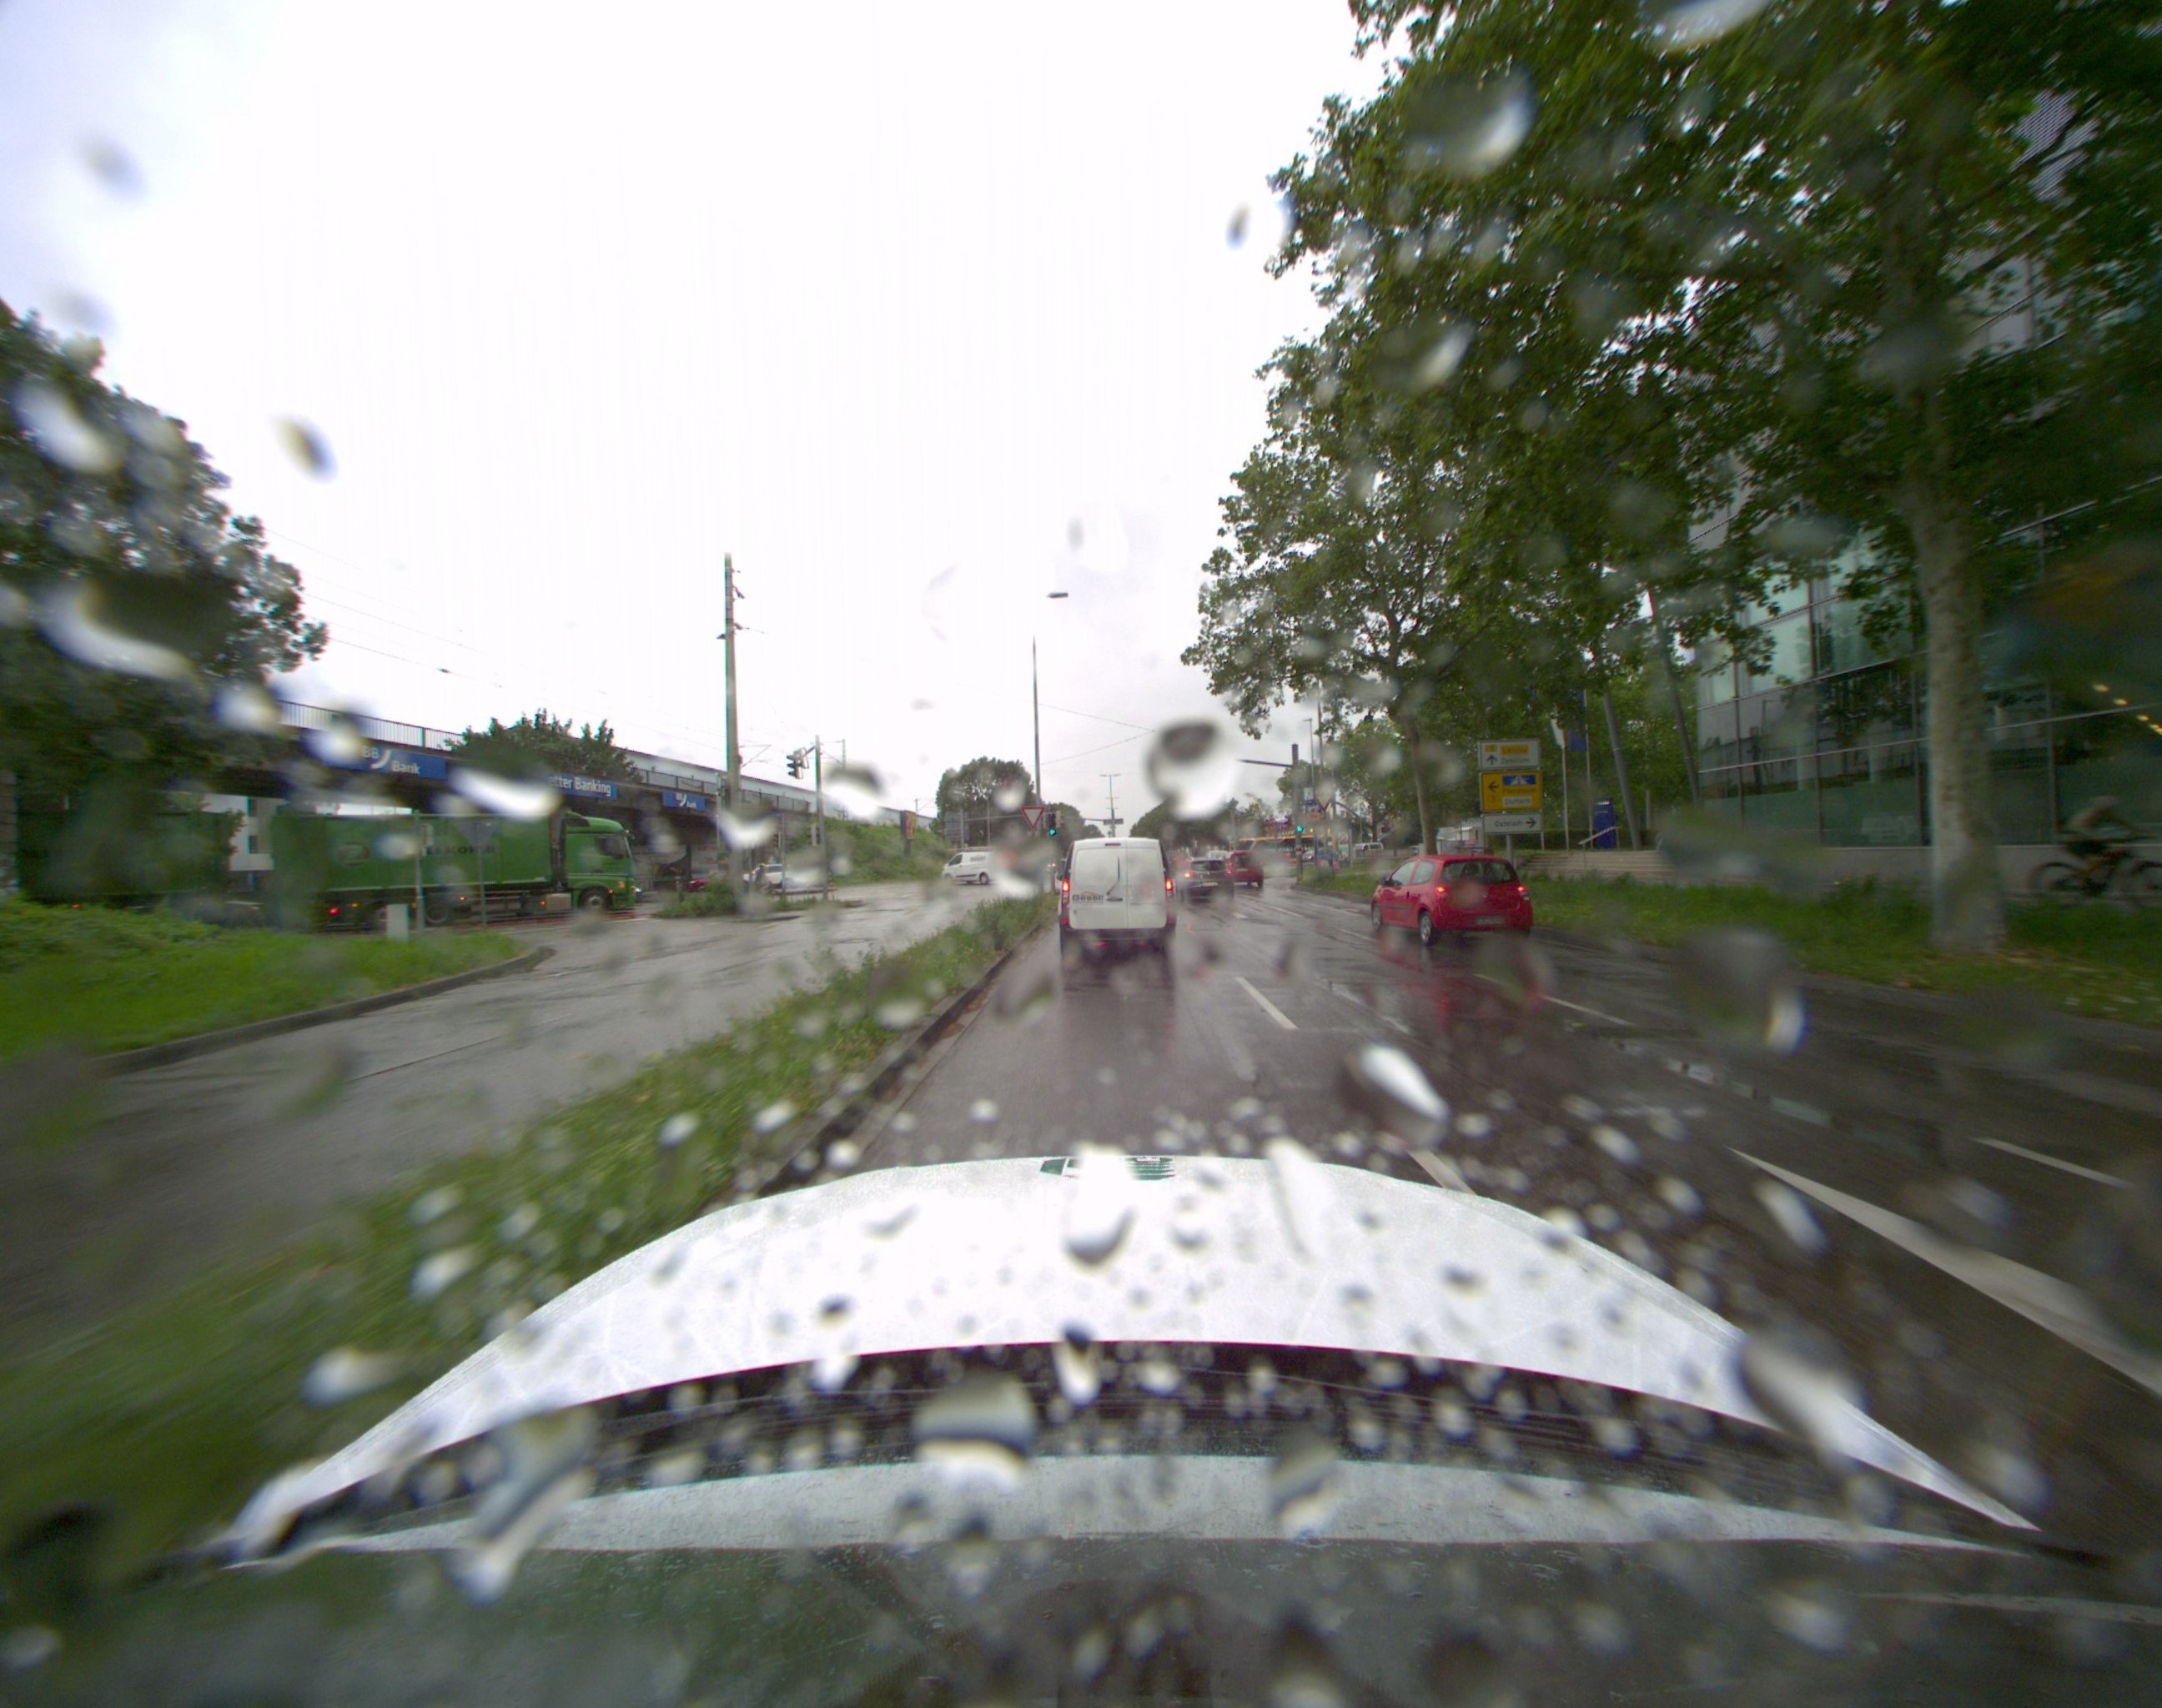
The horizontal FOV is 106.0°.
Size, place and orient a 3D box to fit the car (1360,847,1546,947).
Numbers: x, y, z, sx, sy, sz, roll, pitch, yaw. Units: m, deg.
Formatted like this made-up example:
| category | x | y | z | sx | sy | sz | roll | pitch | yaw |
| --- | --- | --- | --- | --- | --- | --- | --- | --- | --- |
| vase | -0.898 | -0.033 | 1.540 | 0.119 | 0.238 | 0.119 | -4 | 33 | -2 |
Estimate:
| category | x | y | z | sx | sy | sz | roll | pitch | yaw |
| --- | --- | --- | --- | --- | --- | --- | --- | --- | --- |
| car | 6.306 | 0.654 | 14.251 | 1.672 | 1.491 | 3.623 | -1 | 0 | 2 |

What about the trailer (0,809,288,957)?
| category | x | y | z | sx | sy | sz | roll | pitch | yaw |
| --- | --- | --- | --- | --- | --- | --- | --- | --- | --- |
| trailer | -29.200 | 0.789 | 23.555 | 8.555 | 3.987 | 2.660 | -2 | -1 | -35 |

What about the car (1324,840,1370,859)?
| category | x | y | z | sx | sy | sz | roll | pitch | yaw |
| --- | --- | --- | --- | --- | --- | --- | --- | --- | --- |
| car | 27.632 | -0.480 | 84.517 | 4.766 | 1.849 | 2.055 | -2 | 0 | -35 |

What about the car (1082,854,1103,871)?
| category | x | y | z | sx | sy | sz | roll | pitch | yaw |
| --- | --- | --- | --- | --- | --- | --- | --- | --- | --- |
| car | 1.329 | 0.928 | 92.579 | 2.160 | 1.720 | 4.307 | -2 | 0 | 4 |

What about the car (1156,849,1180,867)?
| category | x | y | z | sx | sy | sz | roll | pitch | yaw |
| --- | --- | --- | --- | --- | --- | --- | --- | --- | --- |
| car | 7.854 | 0.355 | 74.089 | 1.984 | 1.574 | 4.005 | -2 | 0 | 4 |

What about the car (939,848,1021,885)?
| category | x | y | z | sx | sy | sz | roll | pitch | yaw |
| --- | --- | --- | --- | --- | --- | --- | --- | --- | --- |
| car | -6.077 | 0.759 | 48.732 | 4.758 | 1.955 | 2.013 | -2 | 1 | 37 |

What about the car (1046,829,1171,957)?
| category | x | y | z | sx | sy | sz | roll | pitch | yaw |
| --- | --- | --- | --- | --- | --- | --- | --- | --- | --- |
| car | 0.460 | 0.552 | 13.519 | 1.749 | 1.777 | 4.002 | -1 | 0 | 2 |

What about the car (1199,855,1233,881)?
| category | x | y | z | sx | sy | sz | roll | pitch | yaw |
| --- | --- | --- | --- | --- | --- | --- | --- | --- | --- |
| car | 8.893 | 0.879 | 53.879 | 1.835 | 1.618 | 4.003 | -1 | 0 | 3 |

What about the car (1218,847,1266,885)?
| category | x | y | z | sx | sy | sz | roll | pitch | yaw |
| --- | --- | --- | --- | --- | --- | --- | --- | --- | --- |
| car | 7.344 | 0.536 | 37.415 | 1.626 | 1.655 | 3.486 | 0 | 0 | 2 |

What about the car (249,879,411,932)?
| category | x | y | z | sx | sy | sz | roll | pitch | yaw |
| --- | --- | --- | --- | --- | --- | --- | --- | --- | --- |
| car | -26.800 | 1.795 | 29.281 | 4.017 | 1.574 | 1.978 | -3 | 0 | -35 |

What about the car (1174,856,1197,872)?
| category | x | y | z | sx | sy | sz | roll | pitch | yaw |
| --- | --- | --- | --- | --- | --- | --- | --- | --- | --- |
| car | 10.871 | 1.023 | 85.108 | 1.986 | 1.560 | 4.002 | -1 | 0 | 2 |

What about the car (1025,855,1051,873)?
| category | x | y | z | sx | sy | sz | roll | pitch | yaw |
| --- | --- | --- | --- | --- | --- | --- | --- | --- | --- |
| car | -4.441 | 1.038 | 84.896 | 2.012 | 1.657 | 4.067 | -2 | 0 | 5 |

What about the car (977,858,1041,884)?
| category | x | y | z | sx | sy | sz | roll | pitch | yaw |
| --- | --- | --- | --- | --- | --- | --- | --- | --- | --- |
| car | -5.021 | 1.197 | 56.852 | 3.894 | 1.619 | 2.012 | -3 | 0 | 28 |

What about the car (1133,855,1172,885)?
| category | x | y | z | sx | sy | sz | roll | pitch | yaw |
| --- | --- | --- | --- | --- | --- | --- | --- | --- | --- |
| car | 4.014 | 0.882 | 46.498 | 1.830 | 1.655 | 3.999 | 0 | 0 | -1 |

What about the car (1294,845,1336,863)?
| category | x | y | z | sx | sy | sz | roll | pitch | yaw |
| --- | --- | --- | --- | --- | --- | --- | --- | --- | --- |
| car | 24.684 | -0.009 | 85.783 | 4.361 | 1.651 | 1.913 | -2 | 0 | -35 |

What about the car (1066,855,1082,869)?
| category | x | y | z | sx | sy | sz | roll | pitch | yaw |
| --- | --- | --- | --- | --- | --- | --- | --- | --- | --- |
| car | -0.893 | 0.996 | 101.825 | 1.858 | 1.720 | 4.000 | -2 | 0 | 1 |

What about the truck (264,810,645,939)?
| category | x | y | z | sx | sy | sz | roll | pitch | yaw |
| --- | --- | --- | --- | --- | --- | --- | --- | --- | --- |
| truck | -21.481 | 0.501 | 28.935 | 10.237 | 3.949 | 2.659 | -2 | 0 | -35 |

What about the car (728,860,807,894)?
| category | x | y | z | sx | sy | sz | roll | pitch | yaw |
| --- | --- | --- | --- | --- | --- | --- | --- | --- | --- |
| car | -19.668 | 1.421 | 51.289 | 4.437 | 1.846 | 1.989 | -2 | 0 | -17 |

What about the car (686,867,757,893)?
| category | x | y | z | sx | sy | sz | roll | pitch | yaw |
| --- | --- | --- | --- | --- | --- | --- | --- | --- | --- |
| car | -23.543 | 1.672 | 53.319 | 4.013 | 1.503 | 1.754 | -2 | 0 | -31 |

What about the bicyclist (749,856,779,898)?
| category | x | y | z | sx | sy | sz | roll | pitch | yaw |
| --- | --- | --- | --- | --- | --- | --- | --- | --- | --- |
| bicyclist | -12.566 | 0.906 | 32.292 | 1.049 | 1.593 | 0.798 | 0 | -1 | -26 |

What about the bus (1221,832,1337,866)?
| category | x | y | z | sx | sy | sz | roll | pitch | yaw |
| --- | --- | --- | --- | --- | --- | --- | --- | --- | --- |
| bus | 22.280 | -0.583 | 92.056 | 12.204 | 3.268 | 3.276 | -3 | 0 | 1 |

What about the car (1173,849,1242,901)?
| category | x | y | z | sx | sy | sz | roll | pitch | yaw |
| --- | --- | --- | --- | --- | --- | --- | --- | --- | --- |
| car | 4.184 | 0.655 | 27.562 | 1.836 | 1.618 | 4.002 | -1 | 0 | 2 |

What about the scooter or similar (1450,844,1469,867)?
| category | x | y | z | sx | sy | sz | roll | pitch | yaw |
| --- | --- | --- | --- | --- | --- | --- | --- | --- | --- |
| scooter or similar | 19.192 | 0.066 | 41.316 | 1.181 | 1.138 | 0.337 | -3 | 0 | -38 |

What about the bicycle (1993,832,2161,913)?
| category | x | y | z | sx | sy | sz | roll | pitch | yaw |
| --- | --- | --- | --- | --- | --- | --- | --- | --- | --- |
| bicycle | 15.457 | 0.261 | 12.396 | 0.741 | 1.104 | 2.076 | -4 | 0 | 0 |

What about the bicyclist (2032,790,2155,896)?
| category | x | y | z | sx | sy | sz | roll | pitch | yaw |
| --- | --- | --- | --- | --- | --- | --- | --- | --- | --- |
| bicyclist | 15.445 | -0.162 | 12.444 | 0.802 | 1.515 | 0.752 | -5 | -1 | -1 |

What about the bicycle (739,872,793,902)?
| category | x | y | z | sx | sy | sz | roll | pitch | yaw |
| --- | --- | --- | --- | --- | --- | --- | --- | --- | --- |
| bicycle | -12.497 | 1.307 | 32.313 | 1.916 | 1.094 | 0.689 | -1 | 0 | -25 |
